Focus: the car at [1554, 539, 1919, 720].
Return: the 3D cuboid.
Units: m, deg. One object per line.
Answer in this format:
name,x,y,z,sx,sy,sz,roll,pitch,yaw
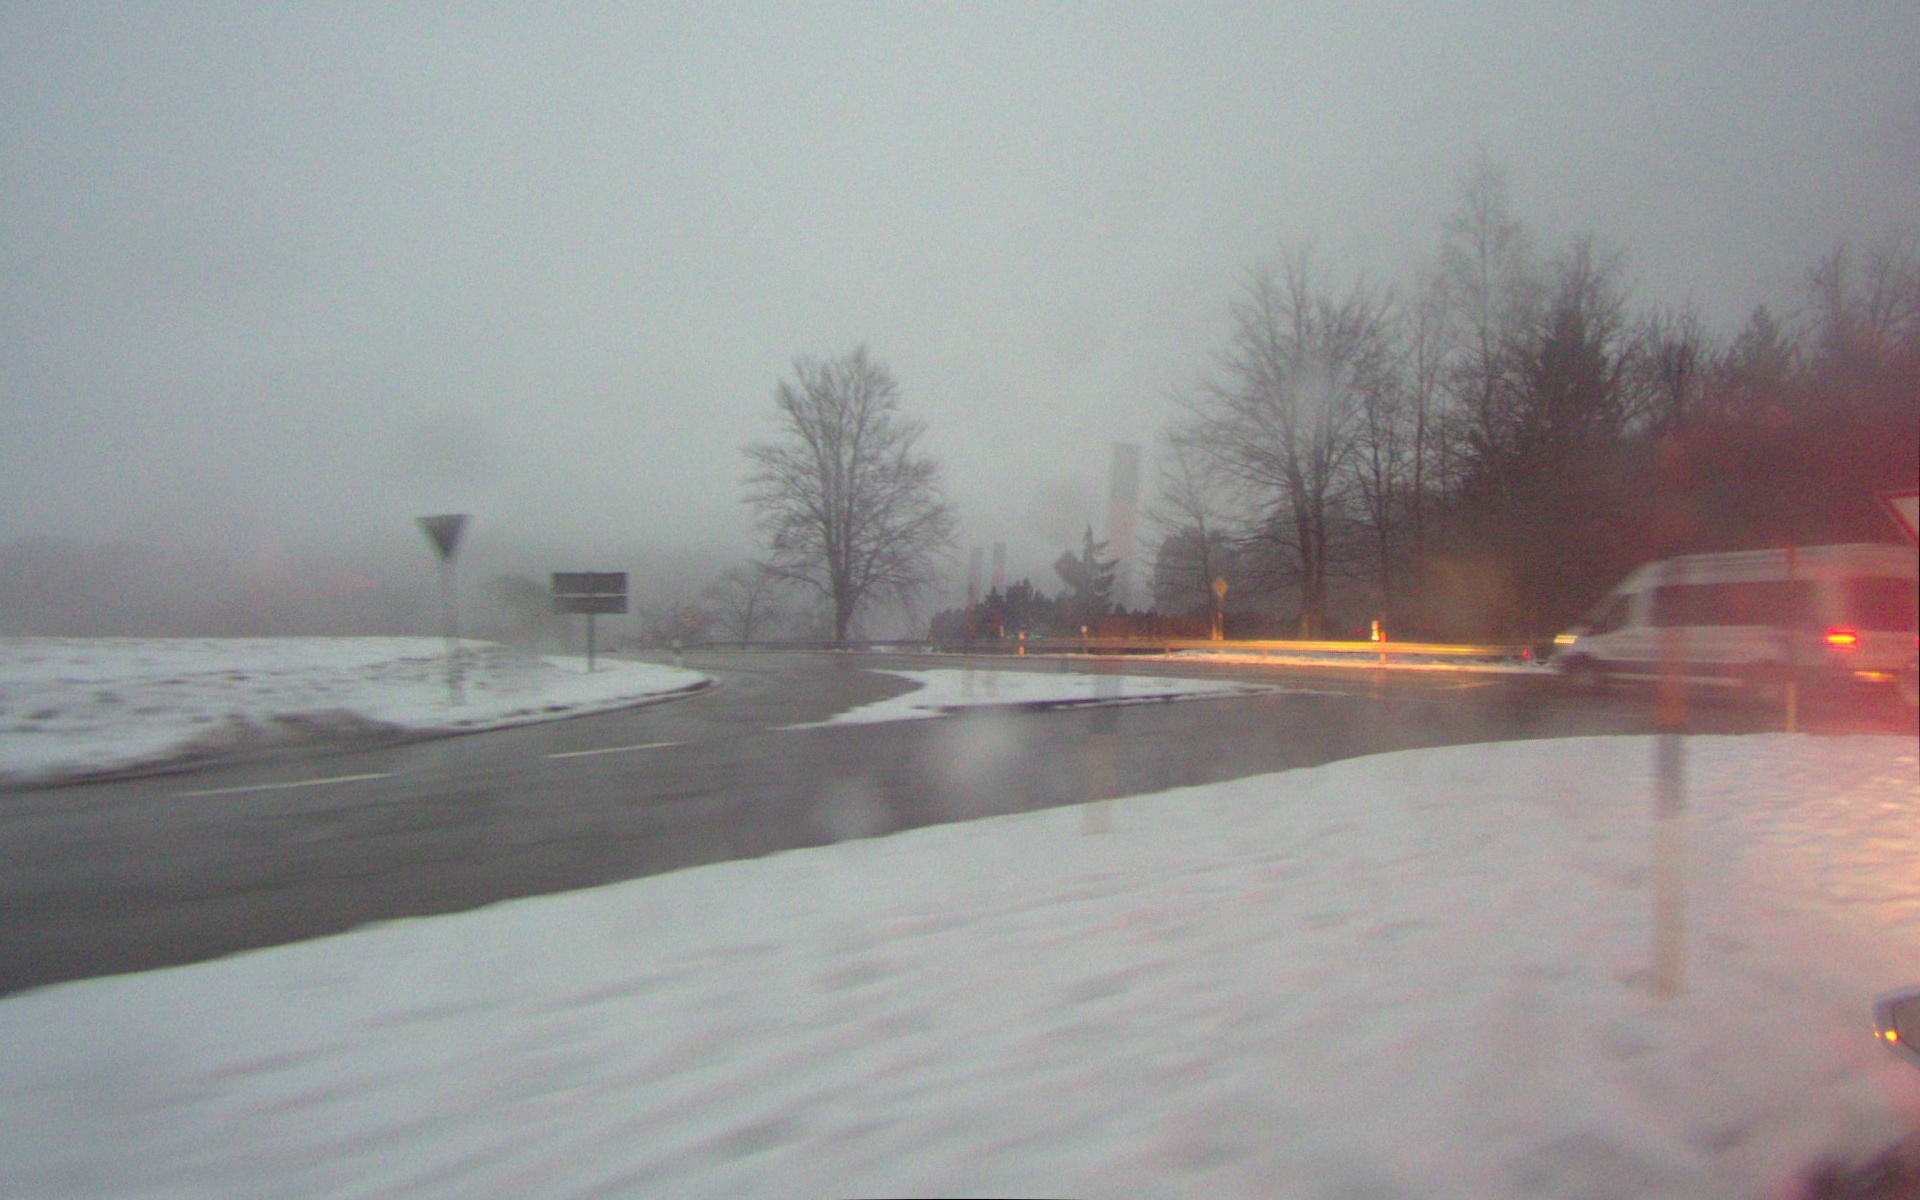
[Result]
car,13.897,0.474,18.265,2.115,2.731,5.517,2,0,-11
